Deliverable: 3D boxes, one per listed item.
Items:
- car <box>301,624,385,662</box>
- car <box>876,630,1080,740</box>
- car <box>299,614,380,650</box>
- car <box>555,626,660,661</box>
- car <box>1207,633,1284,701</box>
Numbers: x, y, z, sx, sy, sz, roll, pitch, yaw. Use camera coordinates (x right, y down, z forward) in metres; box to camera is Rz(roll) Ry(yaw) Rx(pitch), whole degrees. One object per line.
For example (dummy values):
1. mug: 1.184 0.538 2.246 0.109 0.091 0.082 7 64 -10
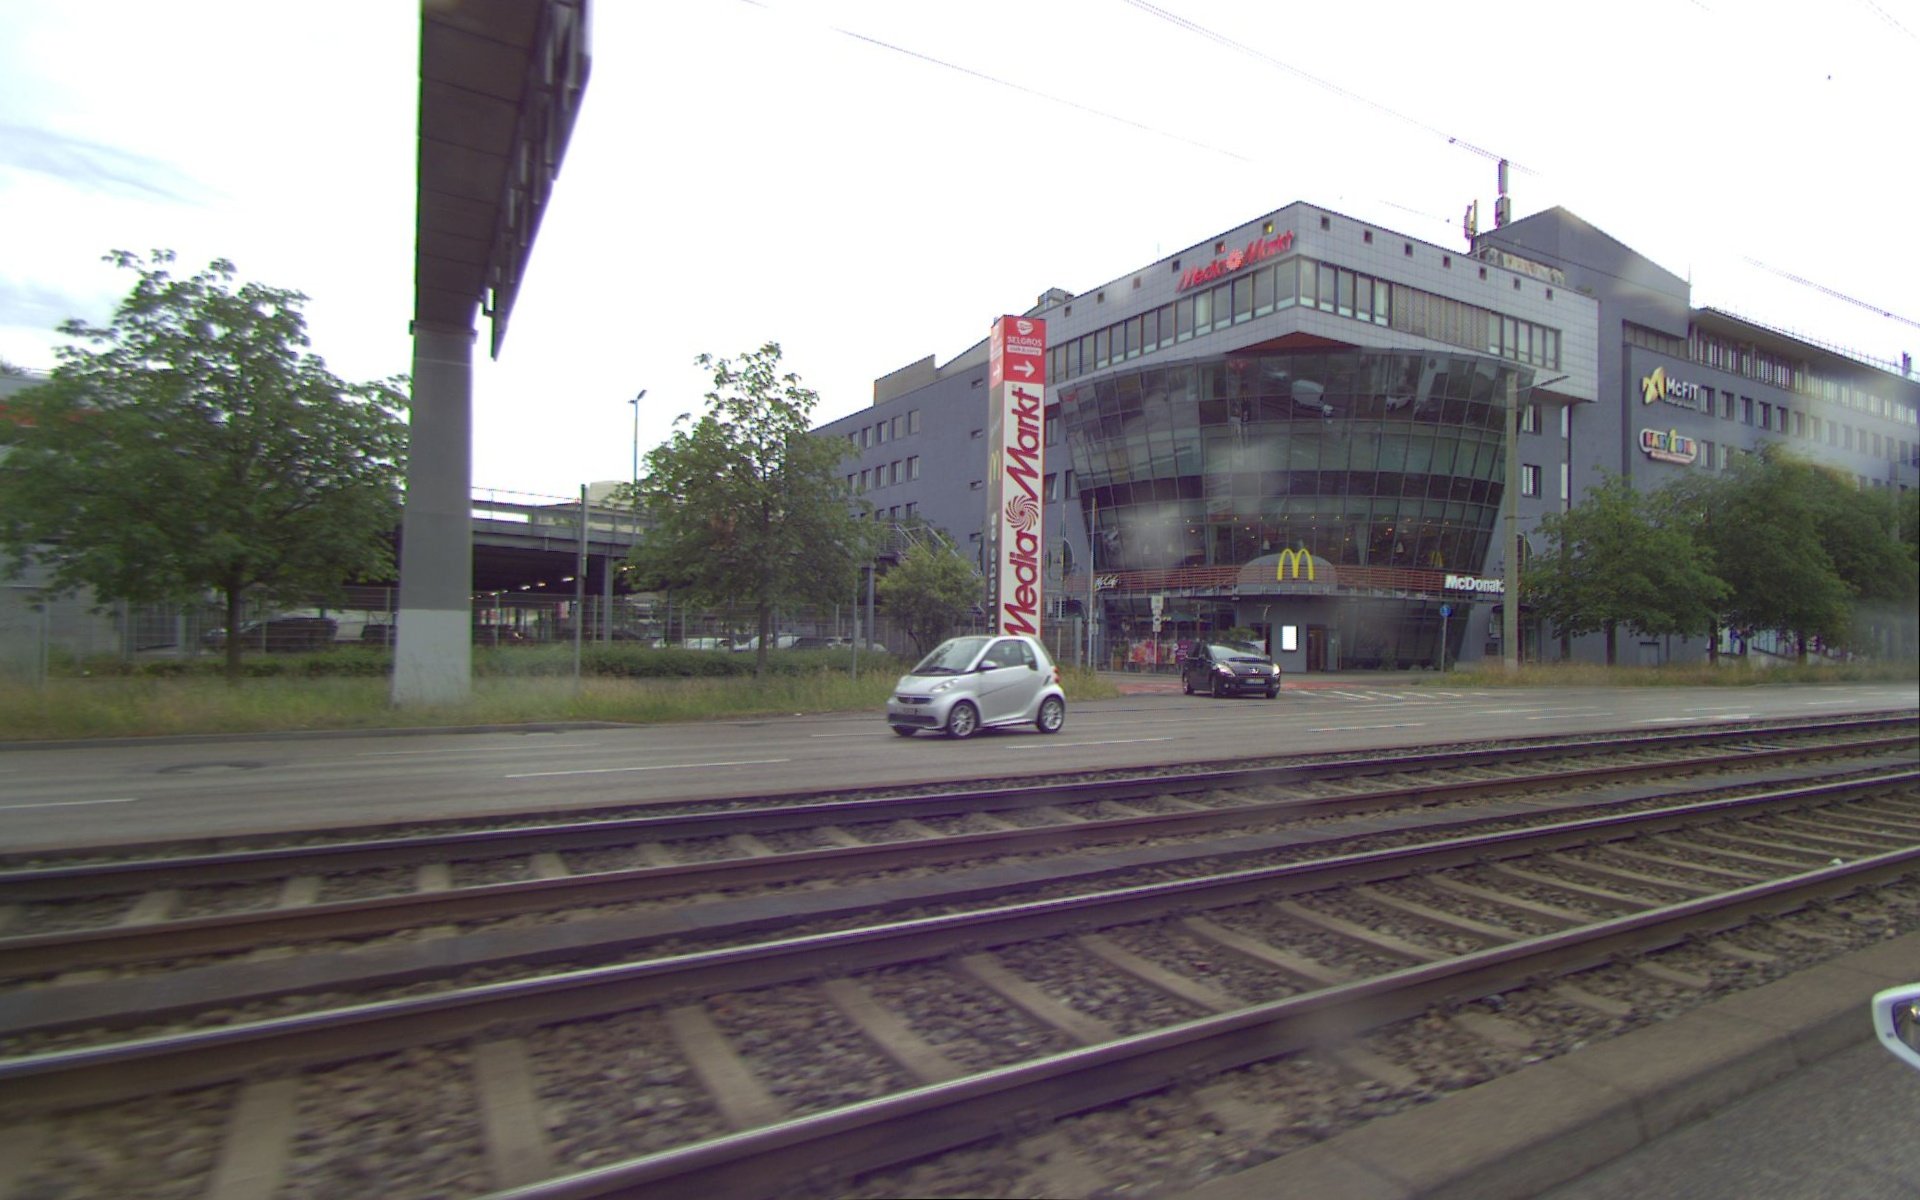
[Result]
1. car: -34.901 2.431 56.940 3.953 2.040 1.984 2 -2 -30
2. car: 0.317 1.286 15.781 2.929 1.557 1.584 2 -4 -42
3. car: -36.455 1.902 59.109 3.953 2.040 1.984 2 -2 -30
4. car: -15.451 1.891 44.063 4.025 1.299 1.664 2 0 11
5. car: 8.045 1.871 28.604 1.960 1.758 4.216 0 -3 14
